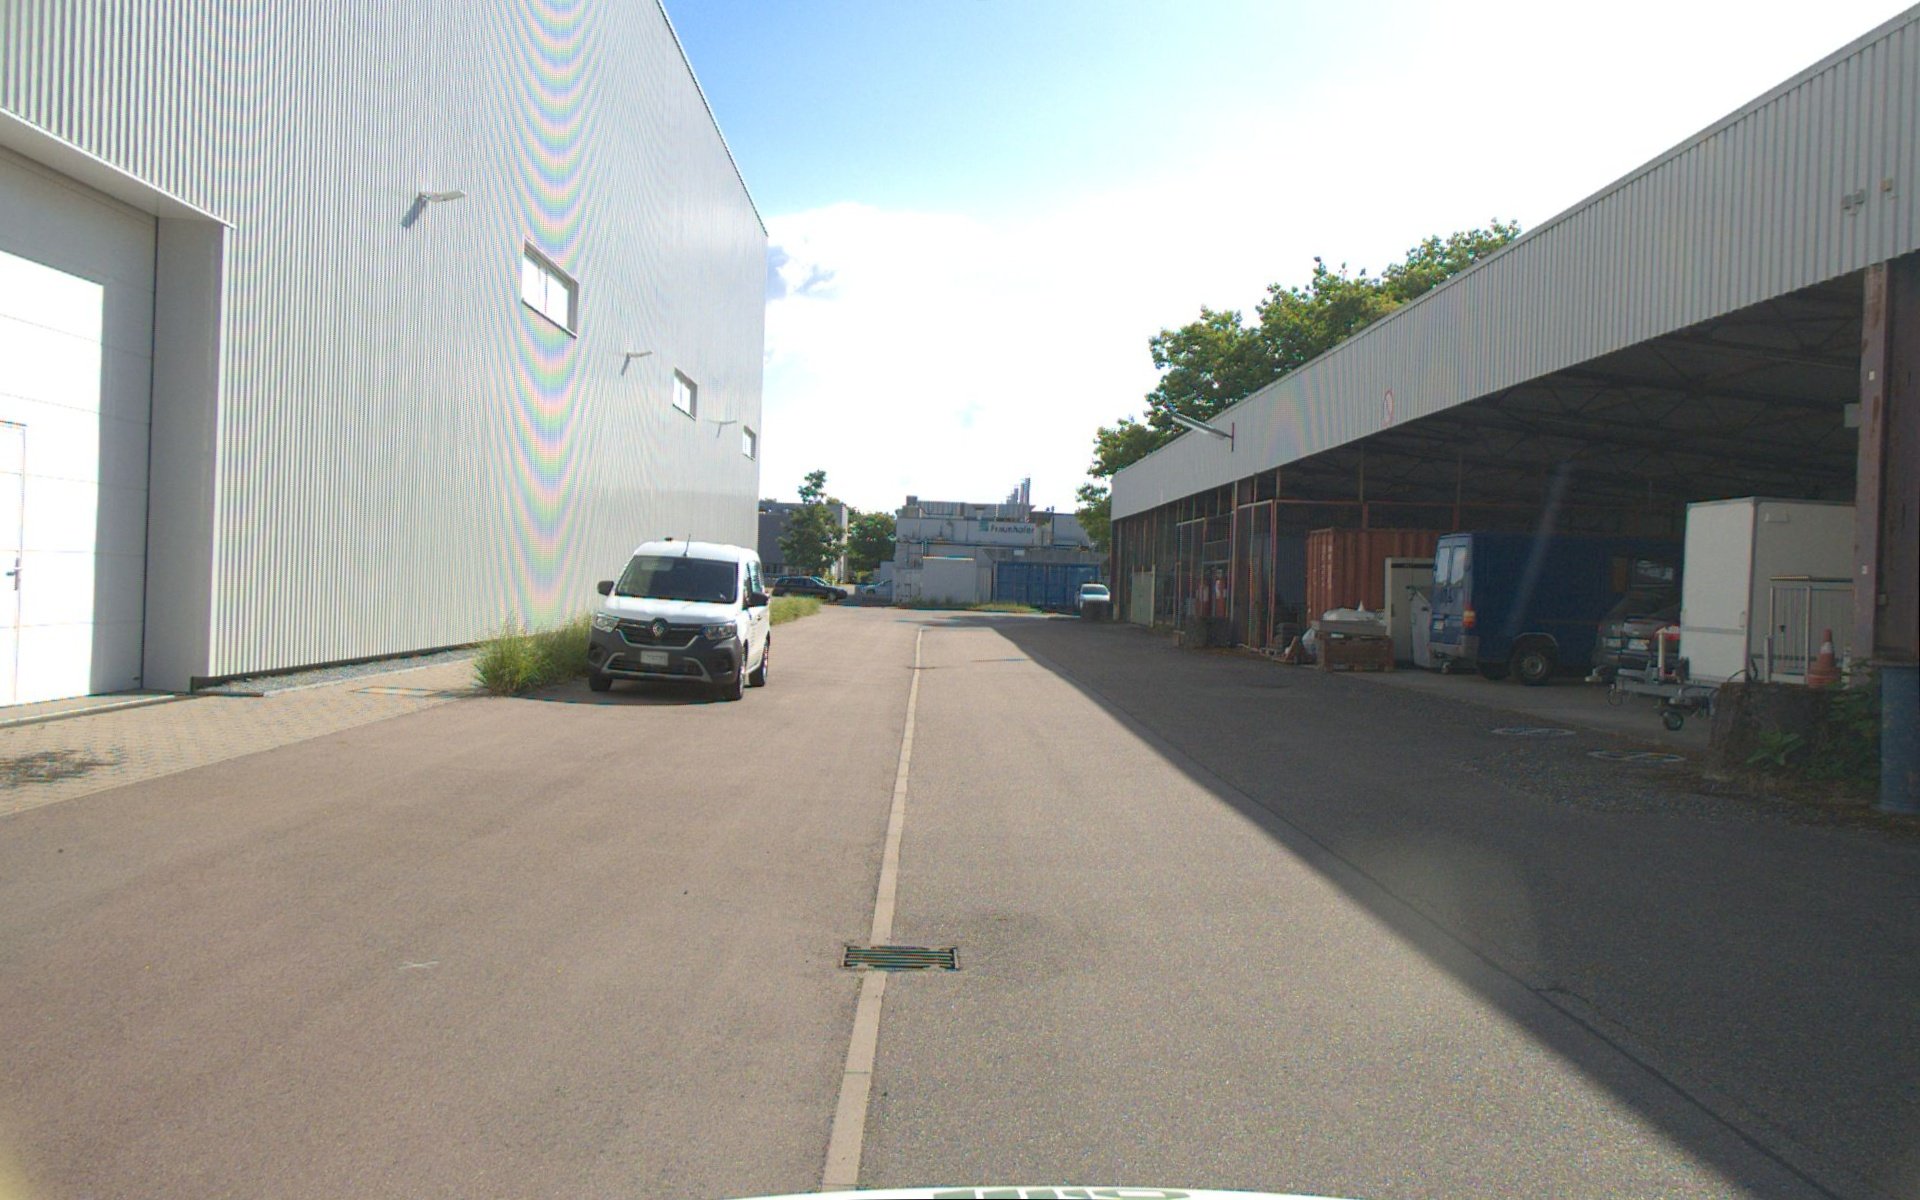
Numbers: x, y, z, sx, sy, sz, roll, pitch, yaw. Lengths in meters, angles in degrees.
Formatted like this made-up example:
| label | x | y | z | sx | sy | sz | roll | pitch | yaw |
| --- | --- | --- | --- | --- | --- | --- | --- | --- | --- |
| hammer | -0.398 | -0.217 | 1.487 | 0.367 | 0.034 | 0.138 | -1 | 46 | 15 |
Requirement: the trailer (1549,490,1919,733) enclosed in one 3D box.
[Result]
| label | x | y | z | sx | sy | sz | roll | pitch | yaw |
| --- | --- | --- | --- | --- | --- | --- | --- | --- | --- |
| trailer | 8.760 | 0.117 | 17.367 | 4.424 | 2.383 | 2.047 | 0 | 0 | 0 |

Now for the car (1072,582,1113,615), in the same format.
| label | x | y | z | sx | sy | sz | roll | pitch | yaw |
| --- | --- | --- | --- | --- | --- | --- | --- | --- | --- |
| car | 7.215 | -0.093 | 90.424 | 1.939 | 1.630 | 4.378 | 1 | 2 | 0 |

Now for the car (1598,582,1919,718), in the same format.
| label | x | y | z | sx | sy | sz | roll | pitch | yaw |
| --- | --- | --- | --- | --- | --- | --- | --- | --- | --- |
| car | 10.148 | 0.584 | 19.960 | 4.164 | 1.497 | 1.868 | 1 | 1 | -4 |

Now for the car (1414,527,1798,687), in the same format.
| label | x | y | z | sx | sy | sz | roll | pitch | yaw |
| --- | --- | --- | --- | --- | --- | --- | --- | --- | --- |
| car | 10.116 | 0.107 | 26.197 | 5.225 | 2.321 | 2.152 | 1 | 0 | -2 |

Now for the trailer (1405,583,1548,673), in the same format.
| label | x | y | z | sx | sy | sz | roll | pitch | yaw |
| --- | --- | --- | --- | --- | --- | --- | --- | --- | --- |
| trailer | 8.955 | 0.462 | 28.783 | 1.996 | 1.492 | 1.739 | 0 | 0 | 3 |

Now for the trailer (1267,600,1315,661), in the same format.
| label | x | y | z | sx | sy | sz | roll | pitch | yaw |
| --- | --- | --- | --- | --- | --- | --- | --- | --- | --- |
| trailer | 6.352 | 0.572 | 31.829 | 0.541 | 1.138 | 1.546 | 0 | 0 | -3 |

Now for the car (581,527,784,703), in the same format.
| label | x | y | z | sx | sy | sz | roll | pitch | yaw |
| --- | --- | --- | --- | --- | --- | --- | --- | --- | --- |
| car | -3.324 | 0.159 | 20.659 | 1.747 | 1.847 | 4.600 | 3 | 0 | -1 |

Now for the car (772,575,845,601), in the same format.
| label | x | y | z | sx | sy | sz | roll | pitch | yaw |
| --- | --- | --- | --- | --- | --- | --- | --- | --- | --- |
| car | -9.369 | -0.727 | 102.468 | 4.358 | 1.557 | 1.823 | 1 | 0 | -2 |

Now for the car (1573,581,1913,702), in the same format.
| label | x | y | z | sx | sy | sz | roll | pitch | yaw |
| --- | --- | --- | --- | --- | --- | --- | --- | --- | --- |
| car | 10.839 | 0.556 | 23.062 | 3.886 | 1.540 | 1.838 | 1 | 0 | -4 |

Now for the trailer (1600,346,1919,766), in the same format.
| label | x | y | z | sx | sy | sz | roll | pitch | yaw |
| --- | --- | --- | --- | --- | --- | --- | --- | --- | --- |
| trailer | 11.337 | -0.339 | 14.931 | 10.059 | 3.401 | 2.801 | 0 | 0 | -1 |

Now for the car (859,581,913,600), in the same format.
| label | x | y | z | sx | sy | sz | roll | pitch | yaw |
| --- | --- | --- | --- | --- | --- | --- | --- | --- | --- |
| car | -5.809 | -0.760 | 130.455 | 4.216 | 1.483 | 1.823 | 1 | 0 | -2 |
